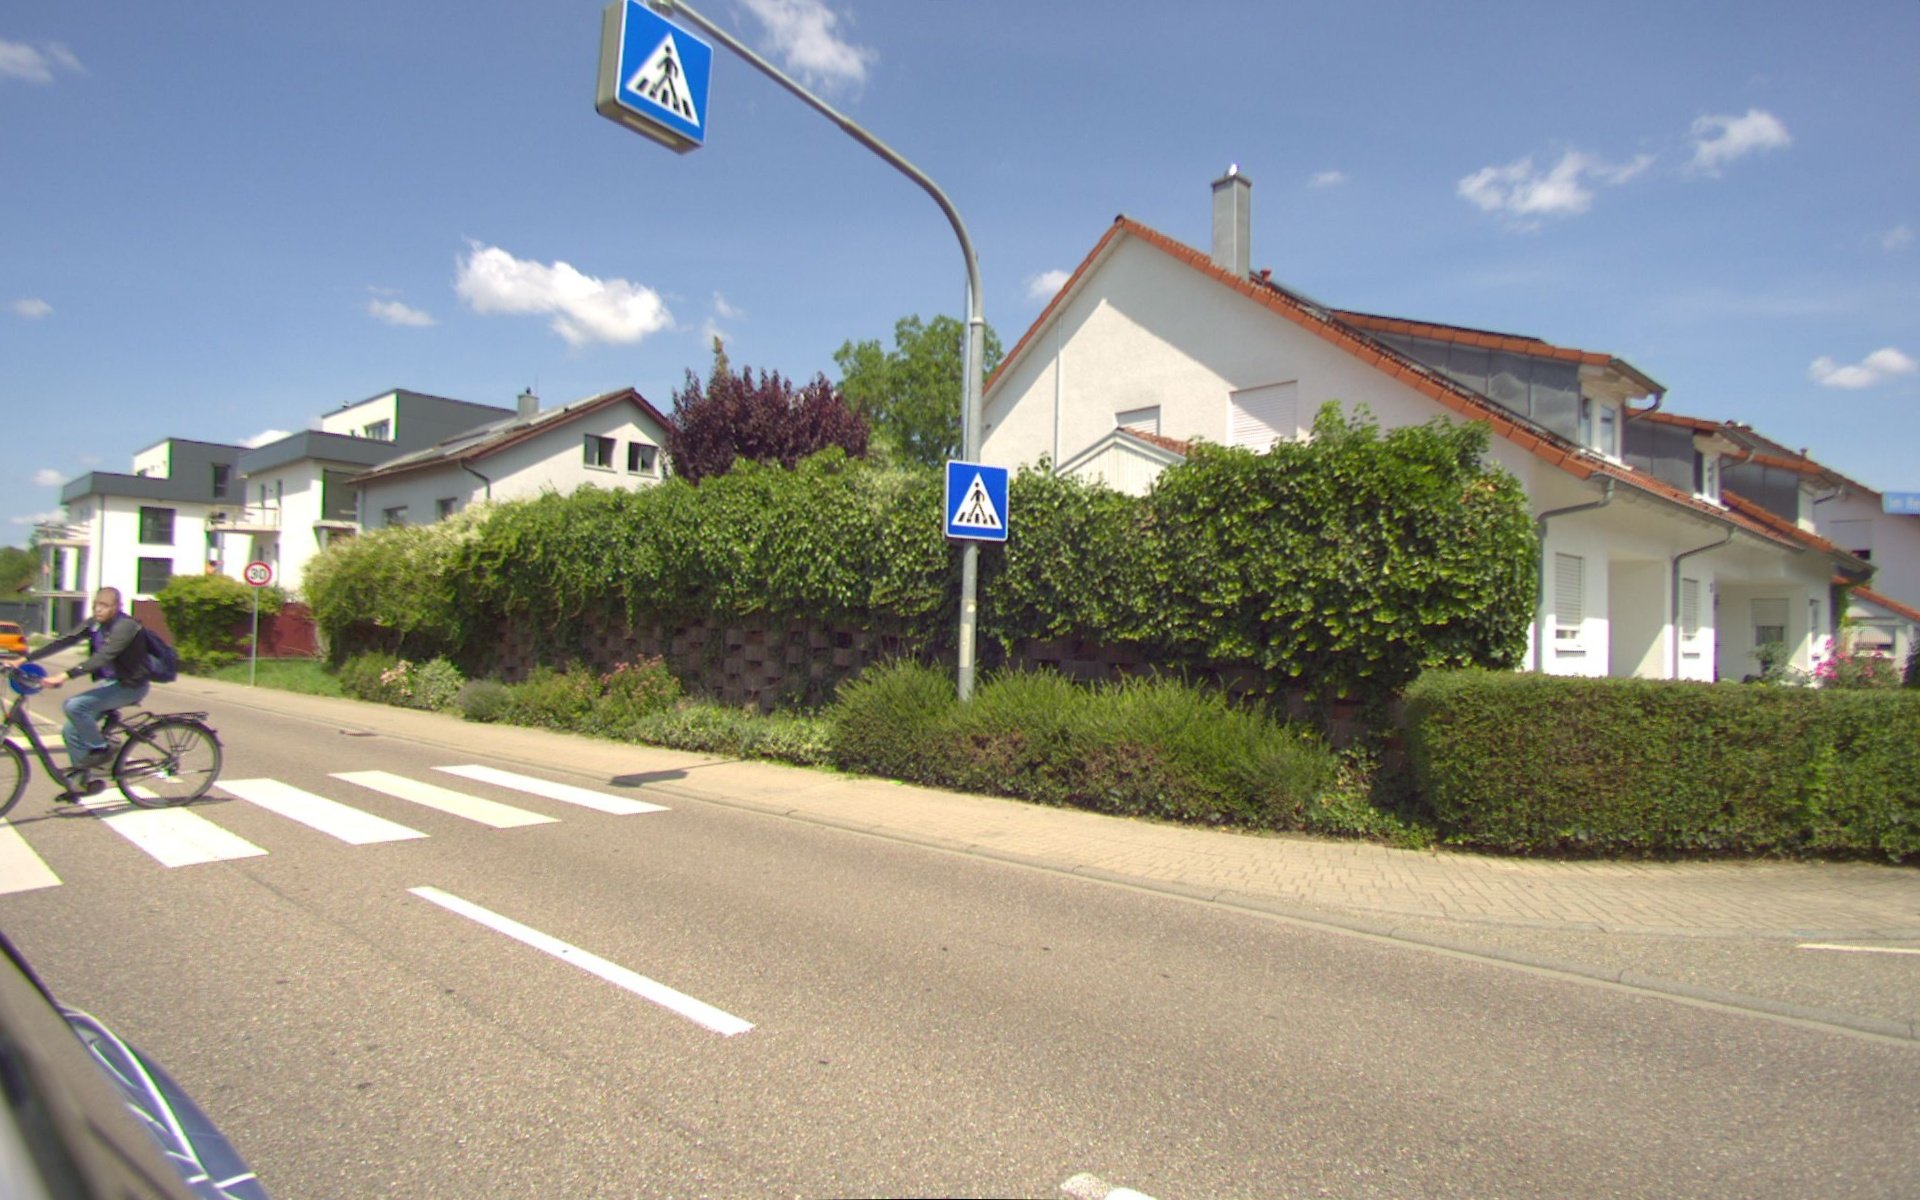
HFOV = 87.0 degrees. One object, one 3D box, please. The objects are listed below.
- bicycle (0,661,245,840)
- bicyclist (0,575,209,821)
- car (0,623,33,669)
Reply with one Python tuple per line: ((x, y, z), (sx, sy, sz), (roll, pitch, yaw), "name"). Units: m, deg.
((-6.503, 1.043, 7.365), (0.803, 1.174, 1.921), (-1, -3, 32), "bicycle")
((-6.411, 0.686, 7.477), (0.803, 1.642, 1.099), (-1, -4, 32), "bicyclist")
((-33.058, 1.537, 34.430), (3.611, 1.500, 1.776), (-1, -4, 41), "car")
